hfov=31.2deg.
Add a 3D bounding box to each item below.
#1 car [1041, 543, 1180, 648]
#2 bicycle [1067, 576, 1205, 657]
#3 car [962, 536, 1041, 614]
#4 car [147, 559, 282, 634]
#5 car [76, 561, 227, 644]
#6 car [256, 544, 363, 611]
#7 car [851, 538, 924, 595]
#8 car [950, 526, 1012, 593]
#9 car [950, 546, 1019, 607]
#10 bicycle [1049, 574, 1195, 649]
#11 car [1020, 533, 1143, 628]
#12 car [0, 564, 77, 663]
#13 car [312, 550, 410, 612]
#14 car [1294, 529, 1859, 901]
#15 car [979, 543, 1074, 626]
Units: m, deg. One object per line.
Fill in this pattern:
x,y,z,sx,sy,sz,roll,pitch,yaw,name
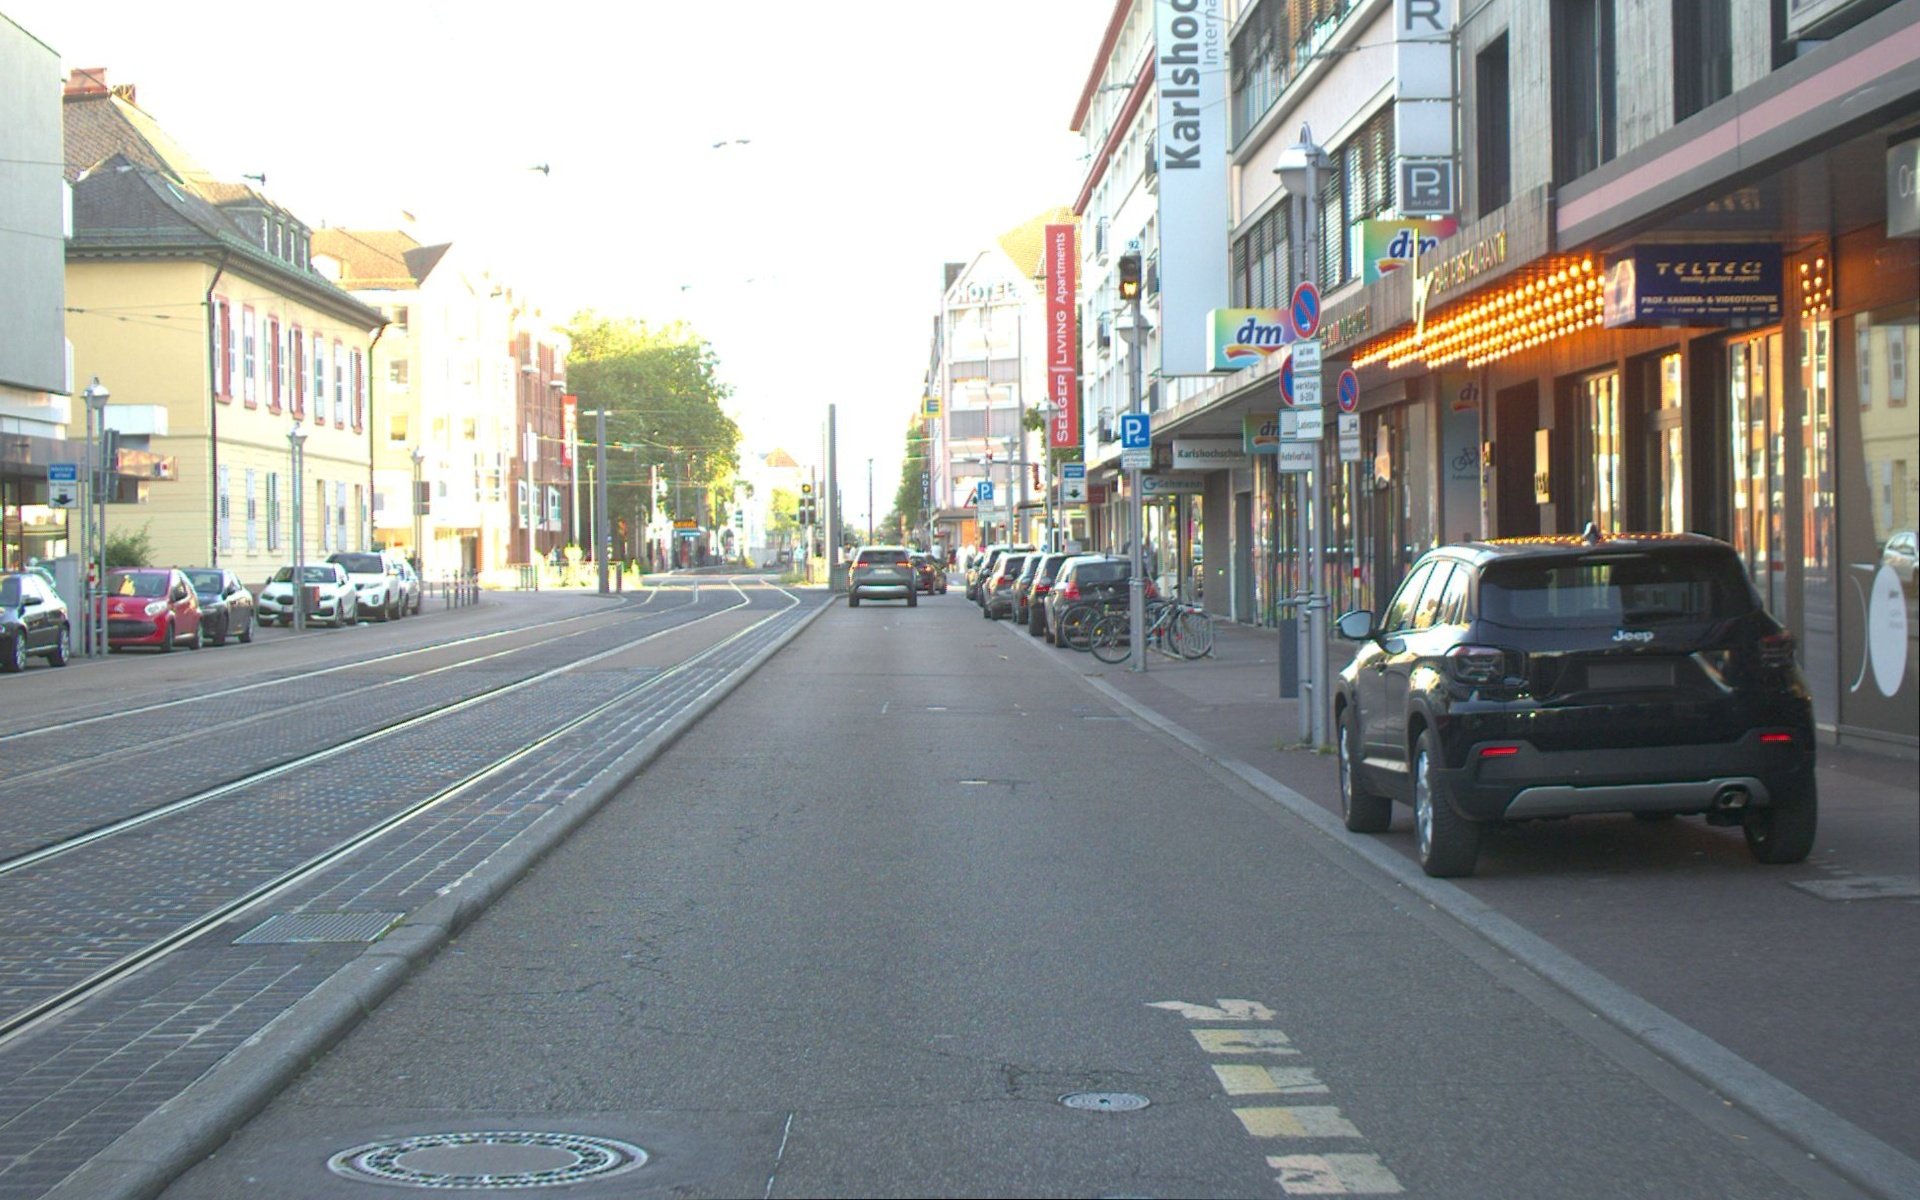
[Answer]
2.369,-0.108,55.125,1.944,1.539,4.545,-3,1,0,car
2.445,0.222,47.772,1.868,1.087,0.545,-1,1,-1,bicycle
1.092,-0.688,91.673,1.944,1.958,4.545,-3,1,0,car
-14.105,-0.089,65.251,1.790,1.334,3.892,2,1,-2,car
-14.081,0.016,60.073,1.790,1.334,3.892,2,1,-2,car
-14.901,-0.537,78.916,1.790,1.444,3.892,2,1,-2,car
-1.982,-0.937,94.969,1.944,1.539,4.545,0,1,0,car
0.681,-1.371,115.213,1.944,2.138,4.545,-3,1,0,car
0.717,-0.721,103.320,1.944,1.697,4.545,-3,1,0,car
2.422,0.171,51.524,2.118,1.087,0.592,-1,1,-3,bicycle
2.122,-0.365,61.119,1.944,1.539,4.545,-3,1,0,car
-14.189,0.166,49.939,1.790,1.334,3.892,2,1,-2,car
-14.686,-0.480,84.480,1.790,1.444,3.892,2,1,-2,car
2.909,0.464,17.268,1.944,1.539,4.545,-3,1,0,car
1.455,-0.370,76.730,1.944,1.697,4.545,-3,1,0,car
